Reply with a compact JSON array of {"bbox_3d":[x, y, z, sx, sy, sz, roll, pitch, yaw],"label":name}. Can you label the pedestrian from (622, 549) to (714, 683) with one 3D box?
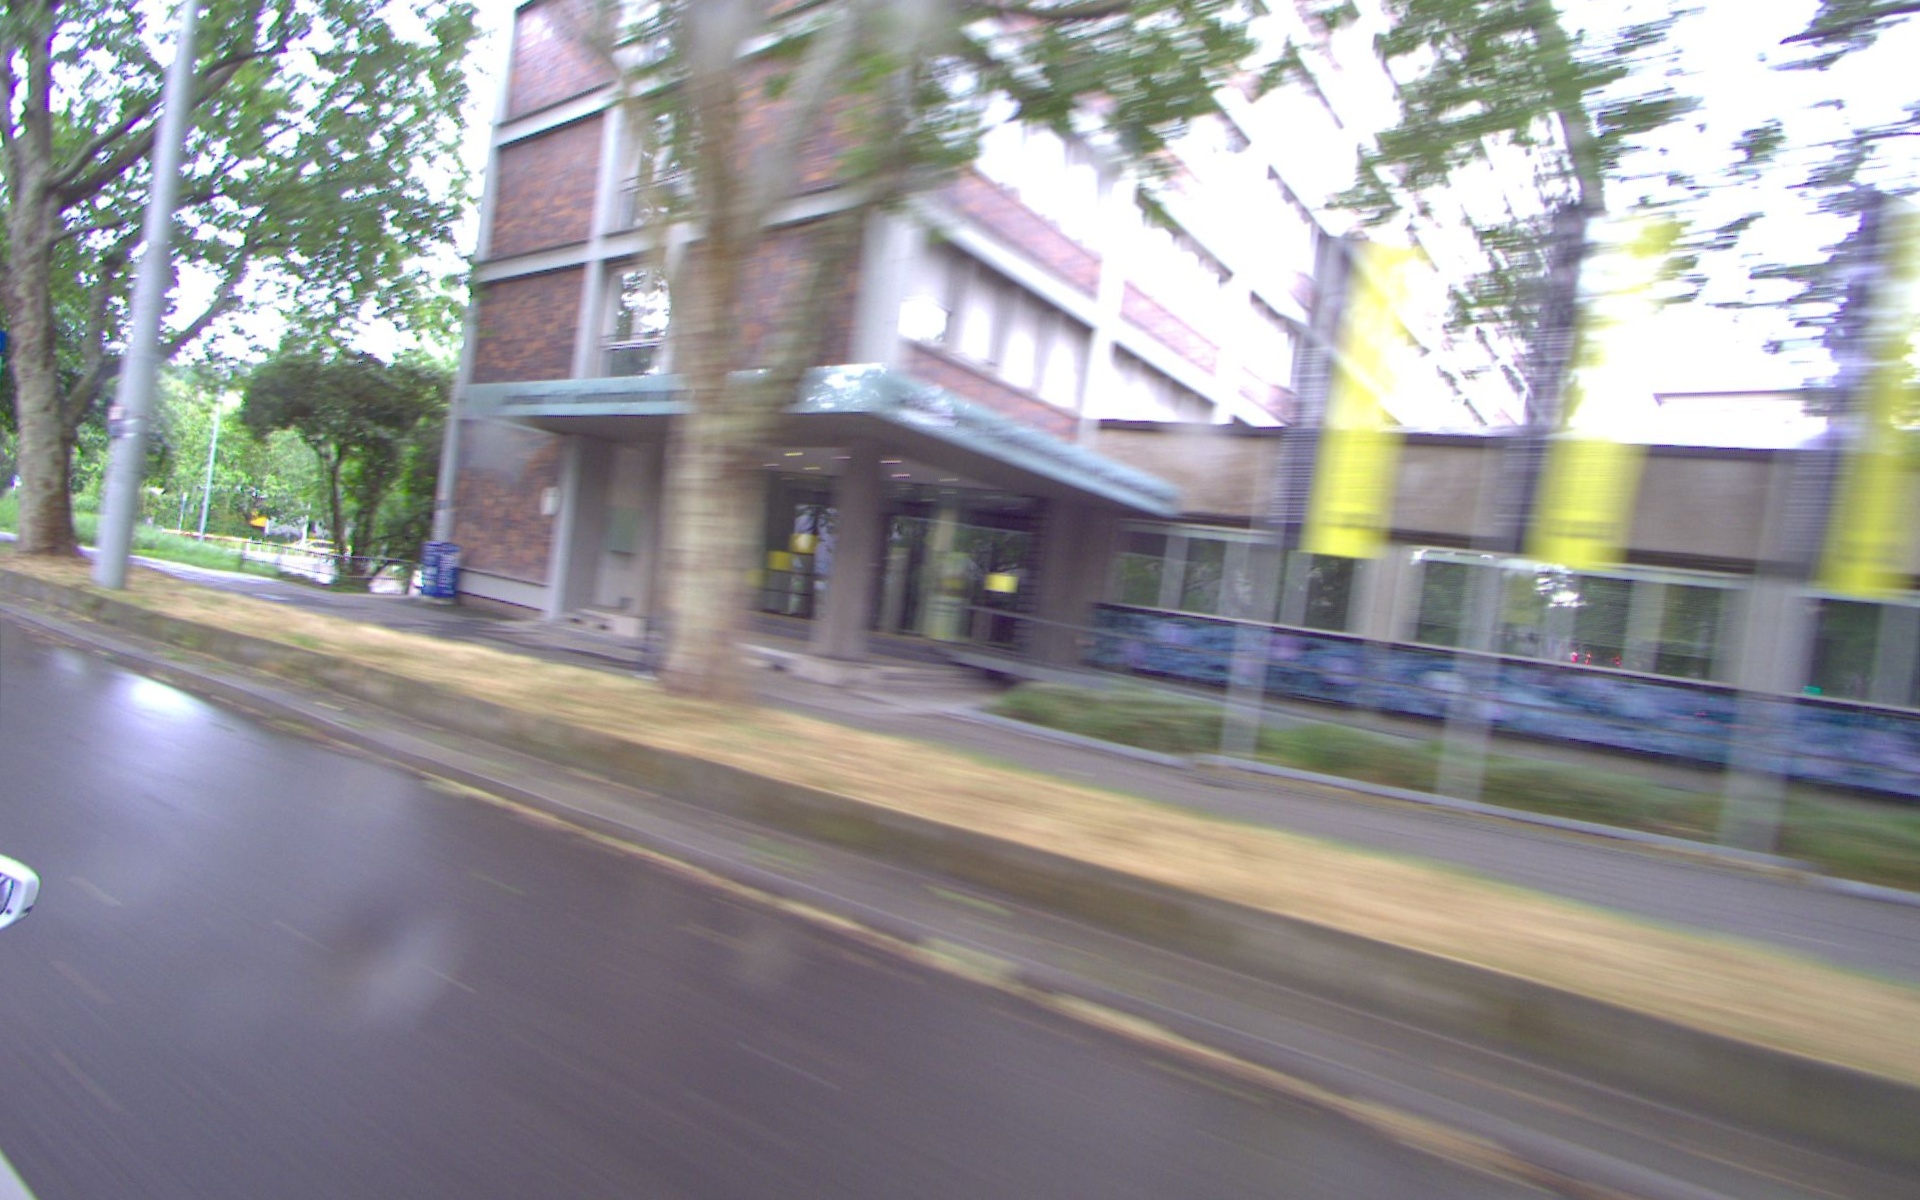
[{"bbox_3d":[-3.922,0.214,13.505,0.919,1.658,0.521,7,0,32],"label":"pedestrian"}]
